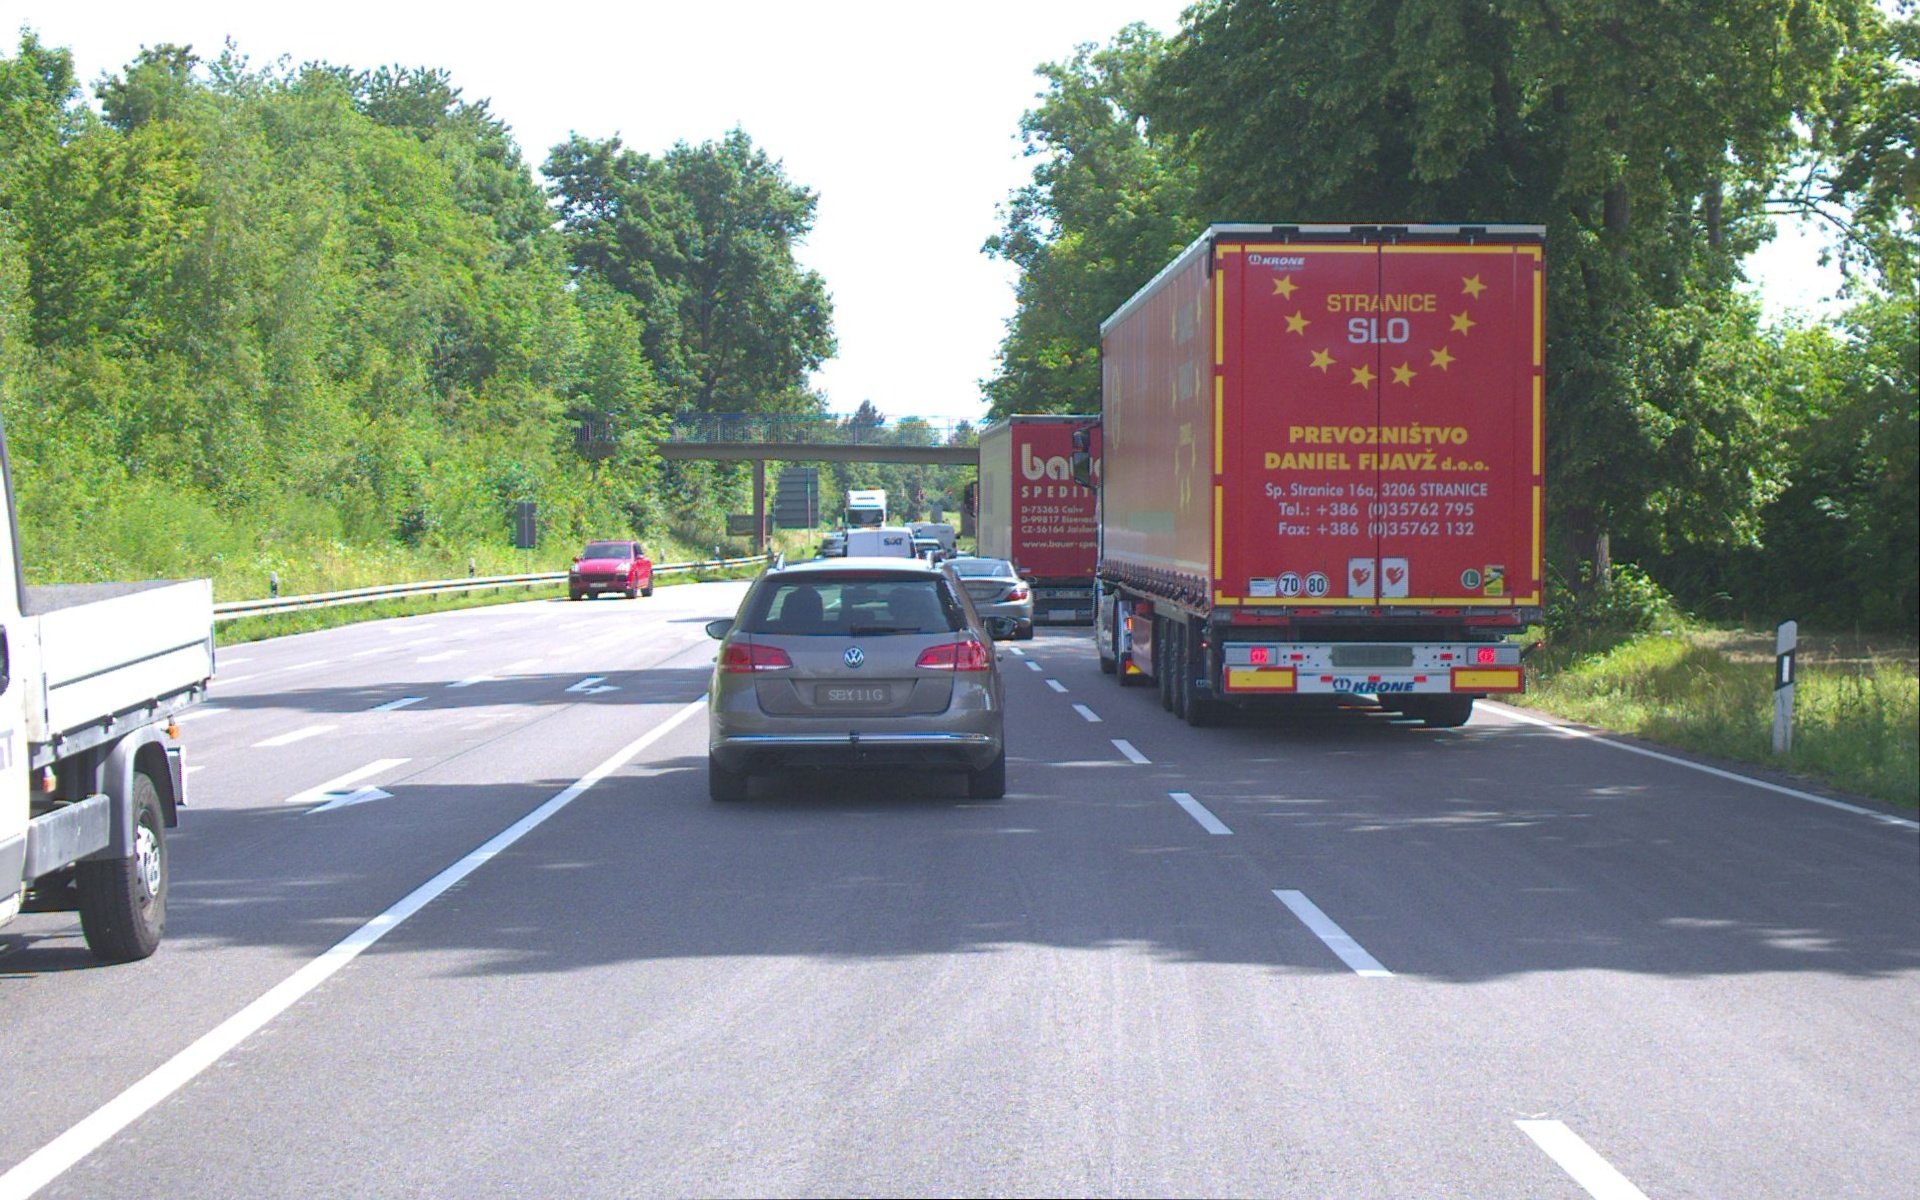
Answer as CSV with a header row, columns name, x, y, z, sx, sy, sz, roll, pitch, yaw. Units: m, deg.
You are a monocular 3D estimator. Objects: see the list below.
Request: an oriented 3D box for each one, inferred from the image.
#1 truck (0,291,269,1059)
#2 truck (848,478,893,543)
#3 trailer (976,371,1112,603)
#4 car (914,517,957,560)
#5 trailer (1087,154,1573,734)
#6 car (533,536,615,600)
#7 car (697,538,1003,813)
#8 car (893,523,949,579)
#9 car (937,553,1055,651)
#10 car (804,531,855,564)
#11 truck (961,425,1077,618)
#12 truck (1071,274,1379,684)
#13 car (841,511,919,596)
name,x,y,z,sx,sy,sz,roll,pitch,yaw
truck,-3.948,0.232,10.813,2.227,2.260,6.500,-2,1,0
truck,-5.781,-5.701,220.531,2.773,3.917,9.467,-1,1,-2
trailer,1.655,-2.157,70.132,2.395,4.229,13.078,-2,1,1
car,-1.183,-2.977,167.499,1.993,2.007,4.000,-2,1,-1
trailer,3.034,-1.241,32.505,2.839,4.350,13.168,0,1,-1
car,-11.408,-0.944,101.838,1.973,1.790,4.809,-2,1,-1
car,-0.669,0.407,21.465,1.691,1.508,4.000,-2,1,-1
car,-1.470,-1.813,128.201,1.993,2.007,4.000,-2,1,-1
car,0.560,0.015,56.494,1.770,1.508,4.000,-2,1,-1
car,-5.892,-2.367,155.369,1.963,1.410,4.000,-1,1,3
truck,1.325,-1.729,77.207,2.406,4.113,5.521,-2,1,1
truck,2.873,-1.296,38.939,2.870,4.266,5.839,0,1,-1
car,-1.911,-1.104,81.891,1.770,1.930,3.978,-2,1,-1
